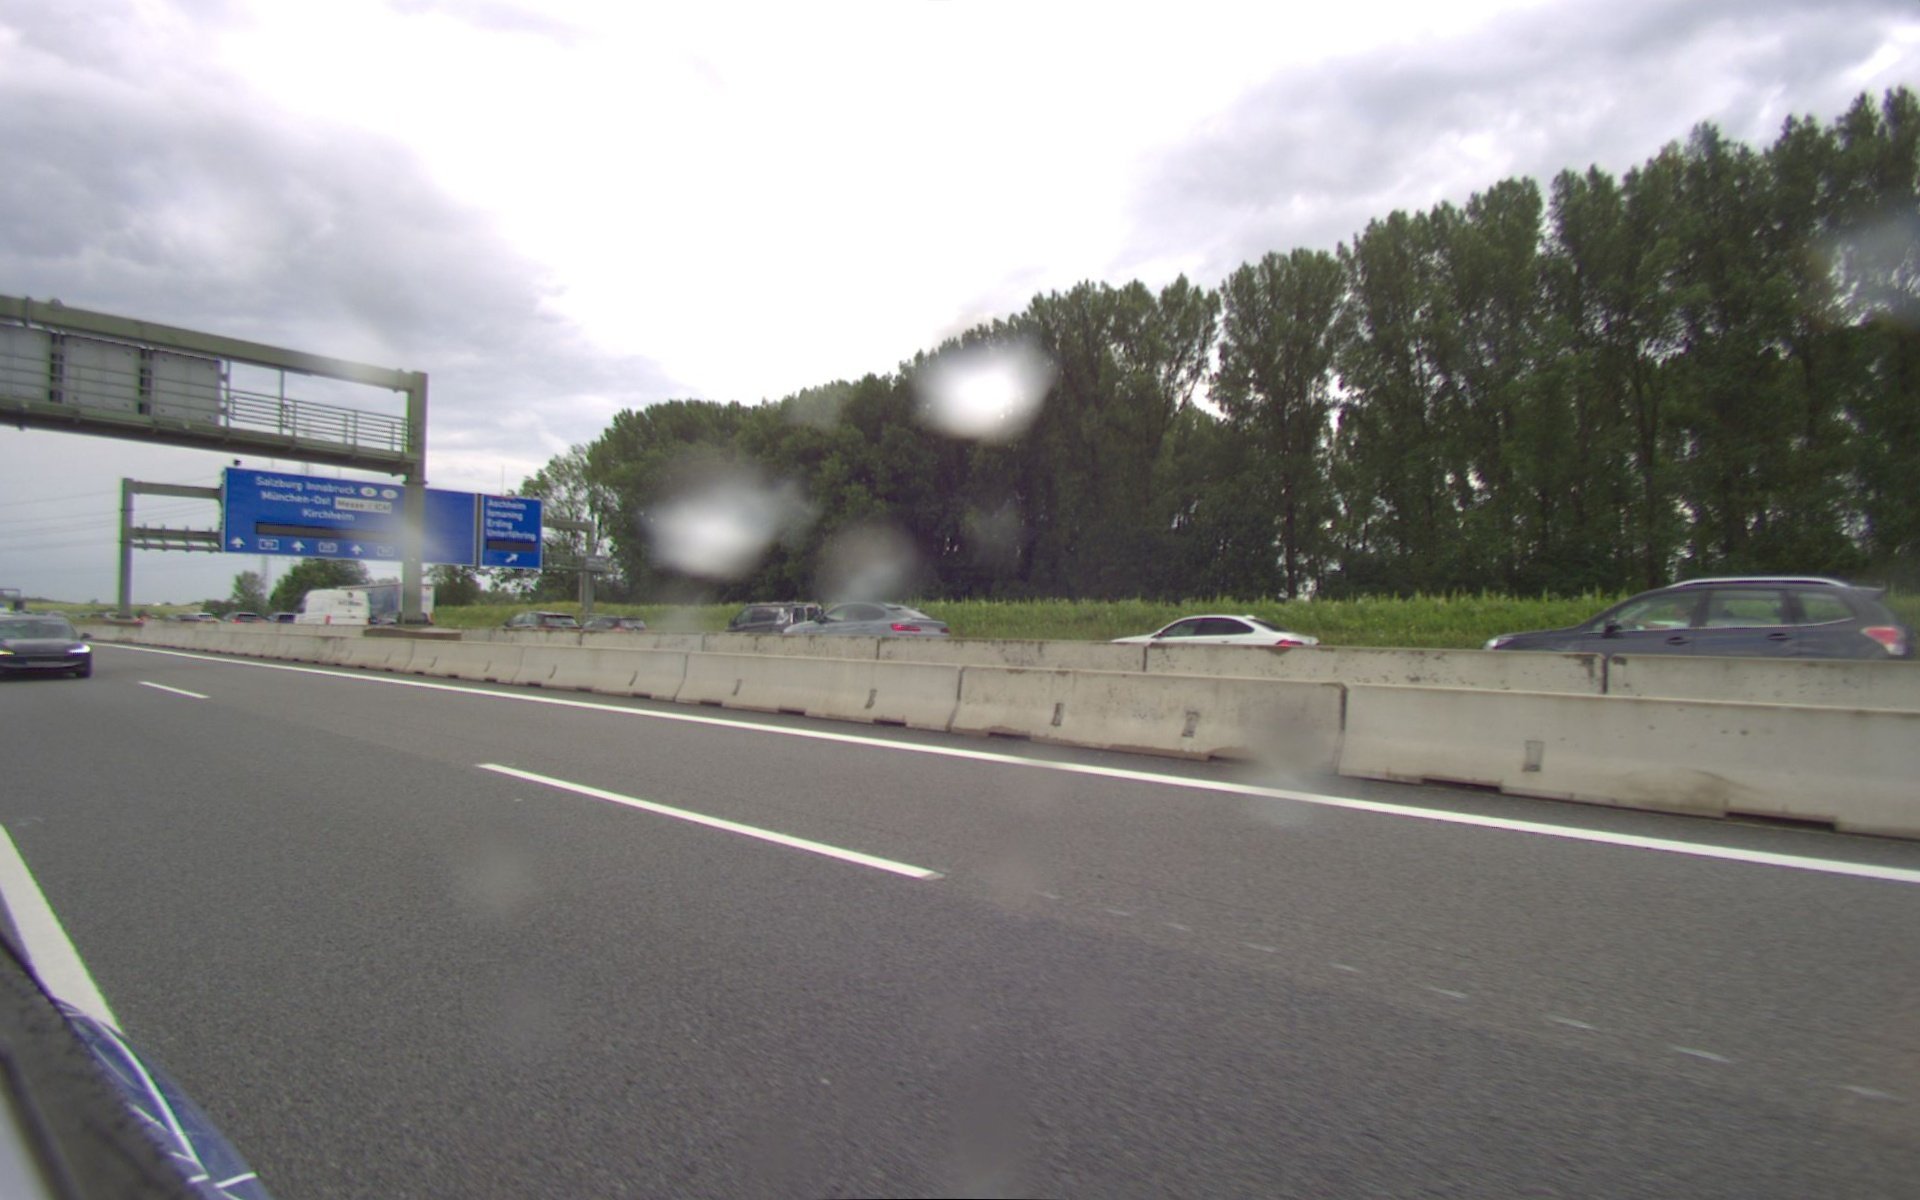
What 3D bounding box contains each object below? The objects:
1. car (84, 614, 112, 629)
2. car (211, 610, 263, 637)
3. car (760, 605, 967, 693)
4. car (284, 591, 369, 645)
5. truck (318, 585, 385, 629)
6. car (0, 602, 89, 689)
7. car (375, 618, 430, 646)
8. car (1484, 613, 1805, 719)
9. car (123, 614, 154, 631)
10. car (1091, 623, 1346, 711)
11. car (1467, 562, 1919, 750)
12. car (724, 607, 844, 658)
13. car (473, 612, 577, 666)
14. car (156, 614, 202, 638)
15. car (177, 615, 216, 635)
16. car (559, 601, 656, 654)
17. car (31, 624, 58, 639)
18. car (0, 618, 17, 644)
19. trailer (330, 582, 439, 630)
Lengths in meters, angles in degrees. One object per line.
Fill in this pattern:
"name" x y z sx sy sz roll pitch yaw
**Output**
"car" -100.056 2.508 117.490 4.017 1.740 1.972 -1 -1 42
"car" -44.736 1.439 62.586 3.999 1.670 1.849 -1 -1 42
"car" -2.419 1.088 24.294 5.184 1.900 1.972 -1 -1 42
"car" -32.286 0.912 51.515 6.341 2.636 1.972 -1 -1 42
"truck" -50.784 0.618 84.398 6.098 3.534 3.102 -1 -1 42
"car" -21.943 1.006 23.666 5.165 1.834 1.971 -1 -1 45
"car" -36.369 2.067 66.026 3.999 1.719 1.972 -1 -1 42
"car" 13.521 1.223 20.231 5.078 1.867 1.972 -1 -2 43
"car" -87.170 2.380 107.376 4.016 1.740 1.972 -1 -1 42
"car" 5.509 1.360 22.098 5.078 1.717 1.972 -1 -2 43
"car" 9.199 0.601 12.202 5.186 1.912 1.972 -1 -1 43
"car" -6.657 1.188 37.955 4.967 1.807 1.687 -1 -1 41
"car" -15.532 1.339 36.036 4.427 1.807 1.687 -1 -1 41
"car" -57.688 1.907 74.731 4.016 1.740 1.972 -1 -1 42
"car" -66.977 2.172 88.735 4.016 1.740 1.972 -1 -1 42
"car" -14.279 1.072 40.921 3.998 2.029 1.973 -1 -1 41
"car" -109.276 3.708 120.745 4.498 1.710 1.763 -1 -1 39
"car" -61.799 1.979 64.816 4.000 1.586 1.798 -1 -1 43
"trailer" -45.571 0.556 79.779 14.448 3.534 3.077 -1 -1 42
